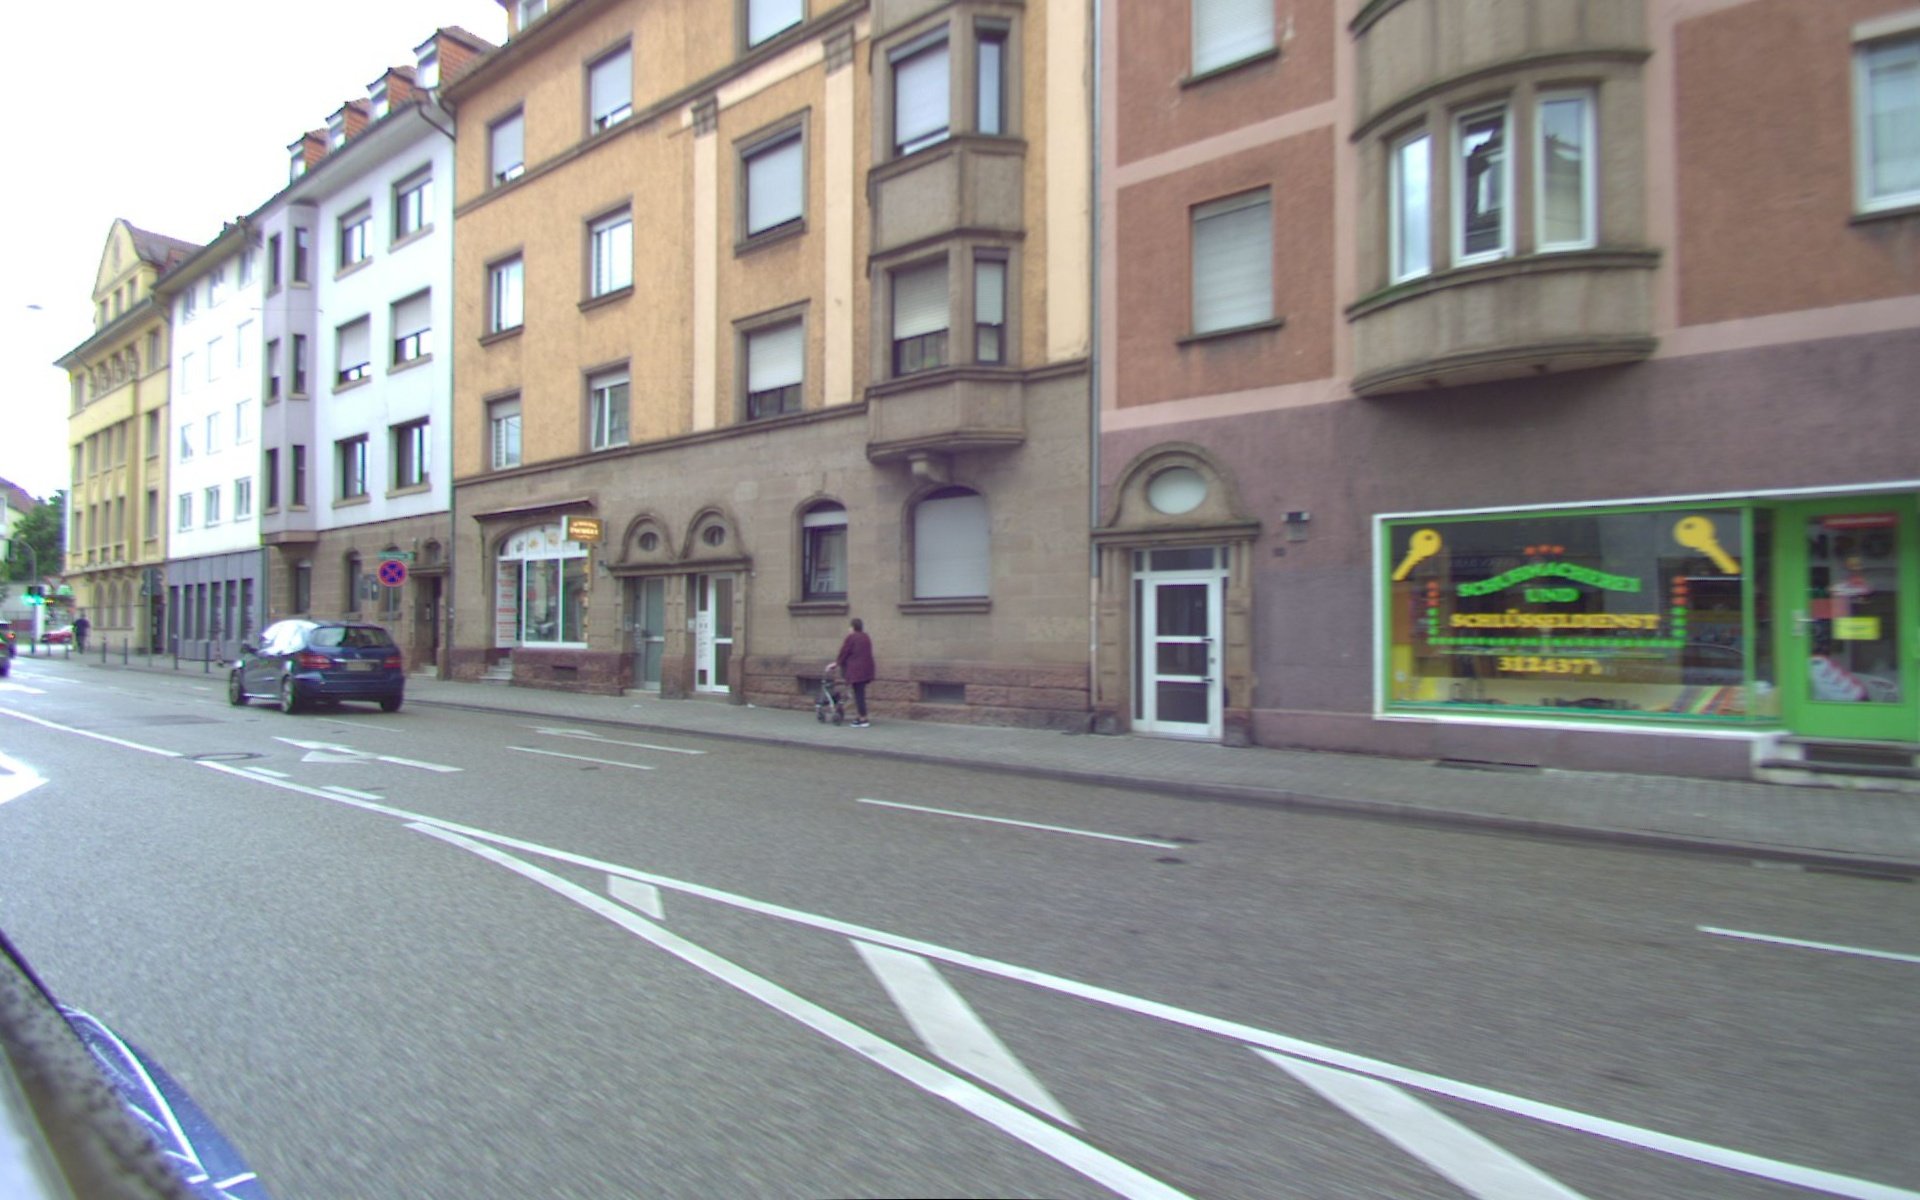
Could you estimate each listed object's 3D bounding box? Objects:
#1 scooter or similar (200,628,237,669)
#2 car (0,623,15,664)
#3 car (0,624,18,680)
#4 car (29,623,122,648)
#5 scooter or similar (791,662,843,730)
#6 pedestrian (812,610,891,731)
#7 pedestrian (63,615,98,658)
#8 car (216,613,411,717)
[{"bbox_3d":[-23.795,1.543,32.475,1.576,1.222,0.457,0,2,36],"label":"scooter or similar"},{"bbox_3d":[-41.241,1.786,42.351,4.335,1.607,1.961,0,-2,40],"label":"car"},{"bbox_3d":[-28.018,1.403,28.118,4.552,1.481,1.925,0,-2,37],"label":"car"},{"bbox_3d":[-56.692,2.272,64.913,2.009,1.529,4.013,0,-2,19],"label":"car"},{"bbox_3d":[-2.143,1.427,15.180,0.477,0.932,0.708,0,0,25],"label":"scooter or similar"},{"bbox_3d":[-1.594,1.009,14.908,0.848,1.691,0.838,0,1,25],"label":"pedestrian"},{"bbox_3d":[-38.516,1.587,44.304,1.030,1.784,0.885,0,2,36],"label":"pedestrian"},{"bbox_3d":[-11.781,1.092,18.343,4.303,1.664,1.736,-1,-2,40],"label":"car"}]
